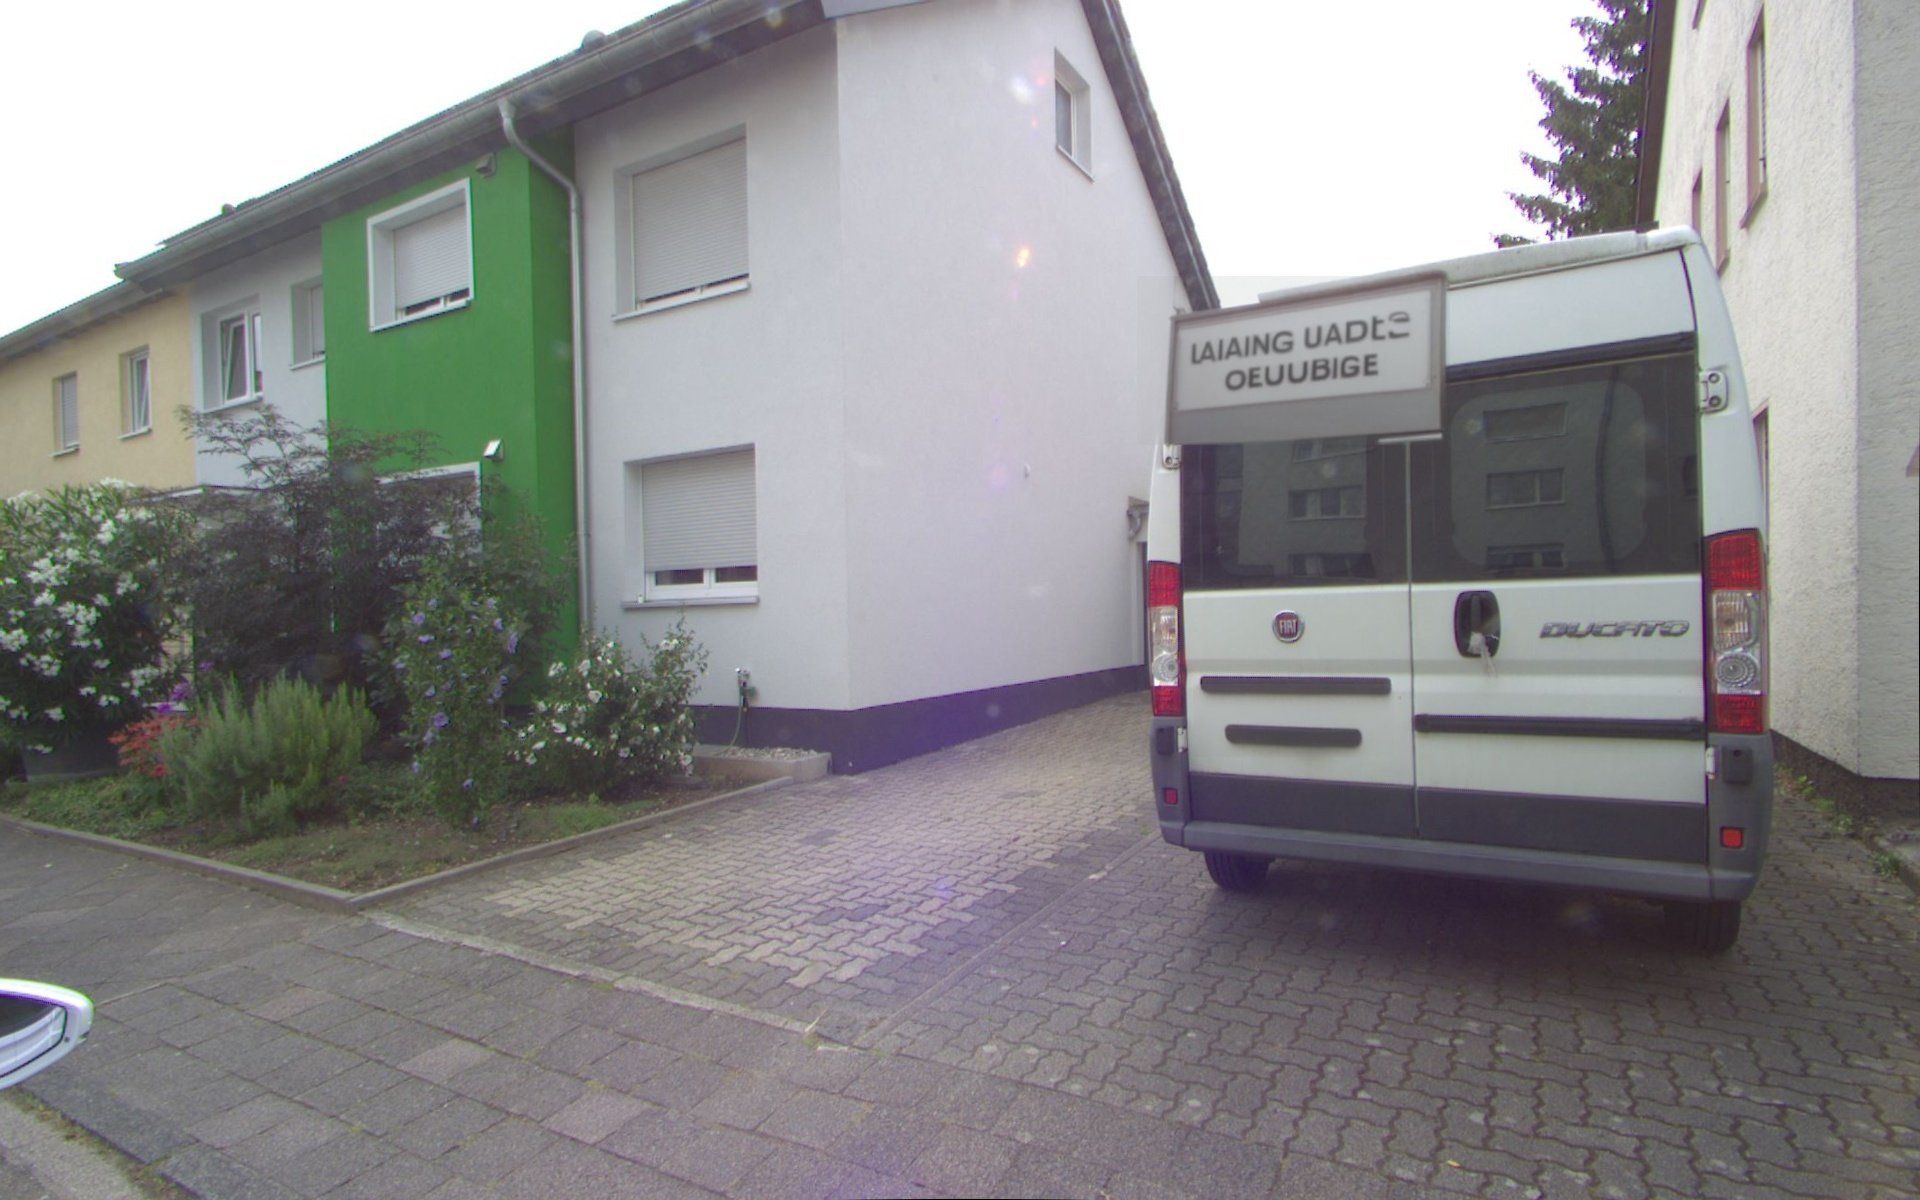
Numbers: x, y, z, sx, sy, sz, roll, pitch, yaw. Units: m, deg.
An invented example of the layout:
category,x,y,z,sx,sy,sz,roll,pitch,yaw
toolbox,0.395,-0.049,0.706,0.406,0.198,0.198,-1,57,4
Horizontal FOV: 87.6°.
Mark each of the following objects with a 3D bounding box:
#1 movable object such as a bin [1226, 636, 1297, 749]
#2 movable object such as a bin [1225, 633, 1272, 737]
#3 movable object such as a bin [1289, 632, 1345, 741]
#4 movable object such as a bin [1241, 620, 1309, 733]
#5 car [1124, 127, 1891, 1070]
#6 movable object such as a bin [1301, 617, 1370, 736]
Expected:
category,x,y,z,sx,sy,sz,roll,pitch,yaw
movable object such as a bin,2.680,0.804,8.884,0.475,0.938,0.518,-1,2,30
movable object such as a bin,2.735,0.796,9.496,0.333,0.938,0.354,-1,2,30
movable object such as a bin,3.260,0.777,9.141,0.396,0.938,0.448,-1,2,30
movable object such as a bin,3.089,0.737,9.810,0.538,1.046,0.454,-1,2,30
car,2.899,-0.025,5.494,2.205,2.576,5.077,-1,1,31
movable object such as a bin,3.576,0.712,9.528,0.538,1.071,0.454,-1,2,30
